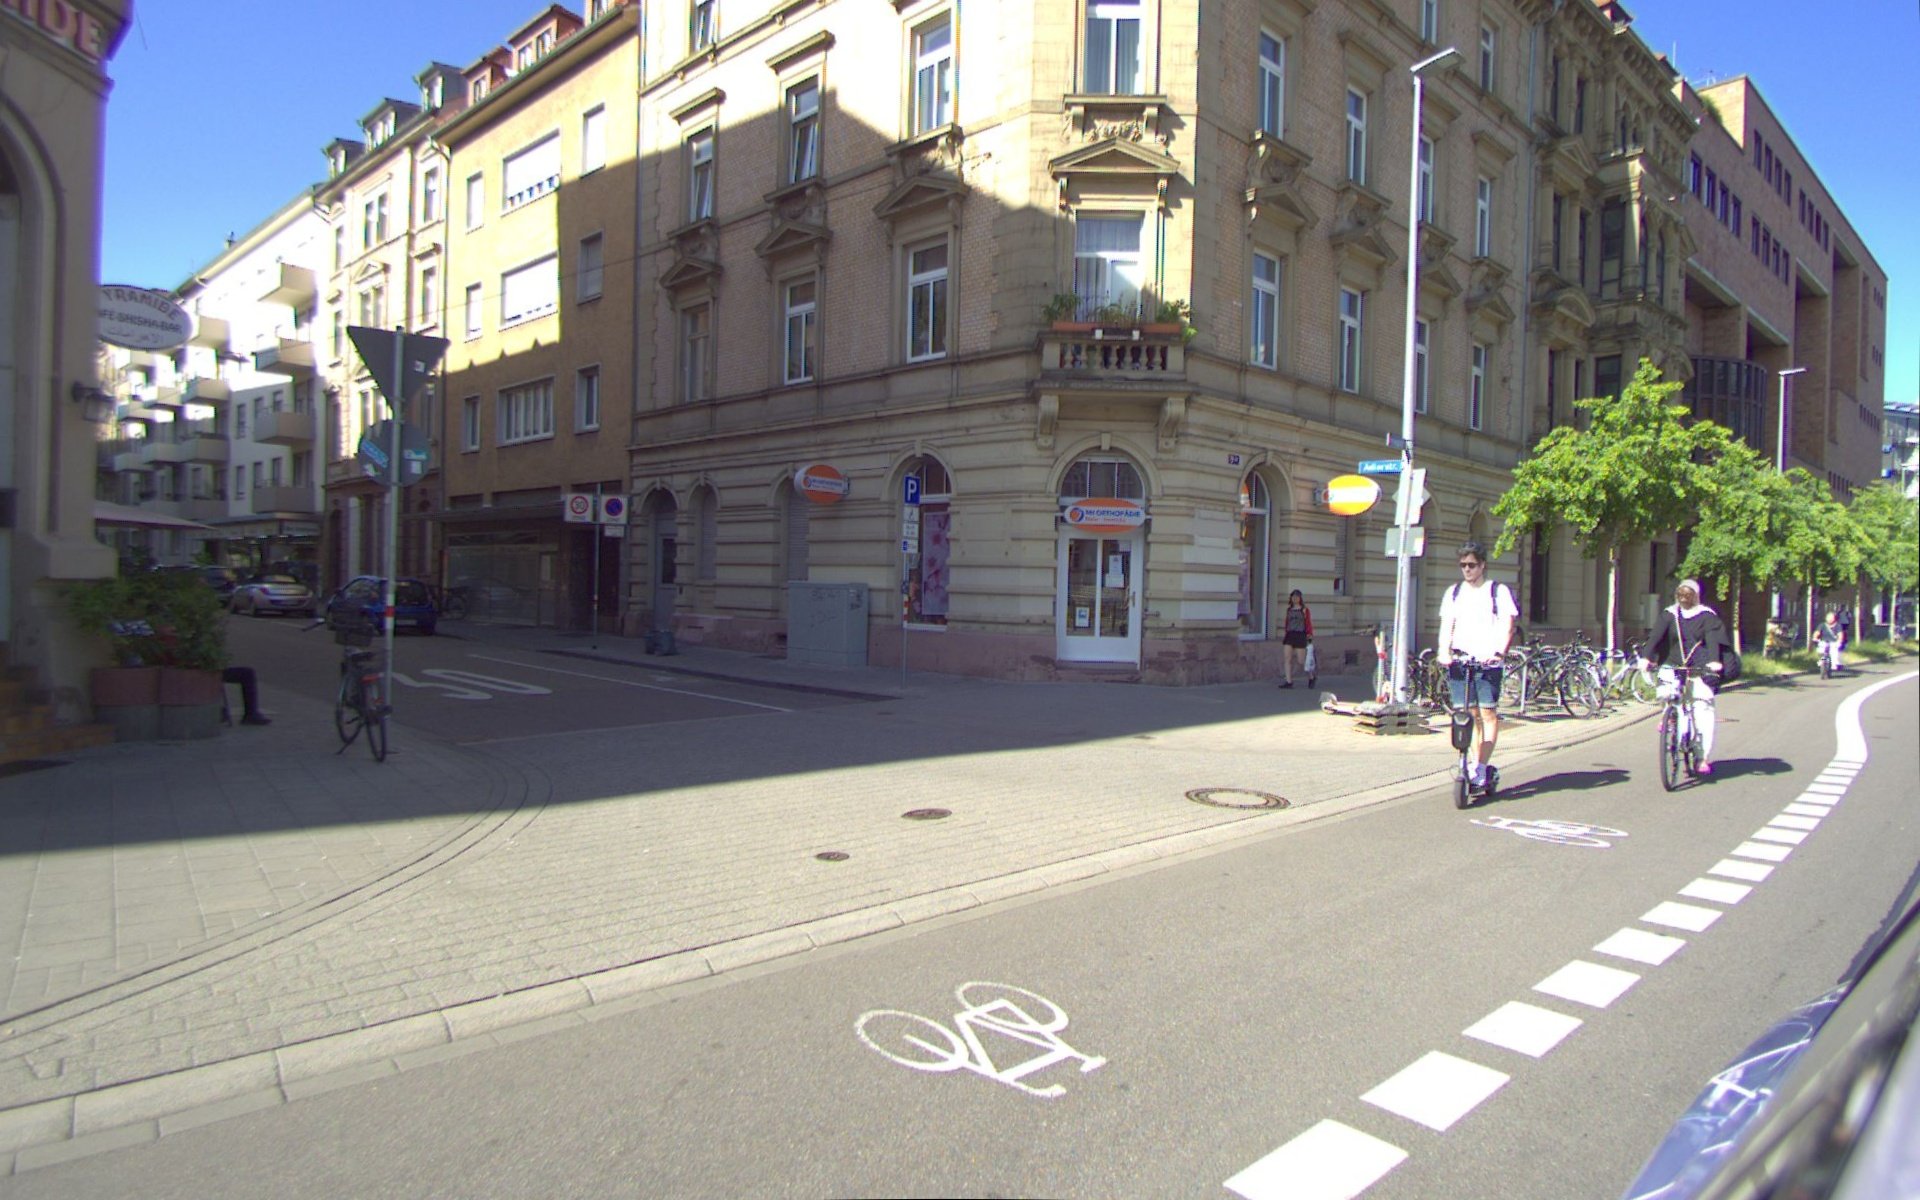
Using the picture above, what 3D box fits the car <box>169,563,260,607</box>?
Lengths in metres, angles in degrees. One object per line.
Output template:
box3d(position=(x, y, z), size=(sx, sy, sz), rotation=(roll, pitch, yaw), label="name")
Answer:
box3d(position=(-26.225, -0.535, 35.588), size=(3.757, 1.450, 1.776), rotation=(2, 1, 40), label="car")

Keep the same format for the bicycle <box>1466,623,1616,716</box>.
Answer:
box3d(position=(8.324, 0.960, 14.565), size=(0.595, 1.114, 1.729), rotation=(1, 3, -37), label="bicycle")

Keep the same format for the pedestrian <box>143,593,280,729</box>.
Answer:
box3d(position=(-7.232, 0.555, 9.788), size=(0.849, 1.229, 0.919), rotation=(0, 0, 43), label="pedestrian")

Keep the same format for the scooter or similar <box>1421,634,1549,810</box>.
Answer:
box3d(position=(4.090, 0.894, 7.859), size=(1.150, 1.242, 0.491), rotation=(1, -2, -41), label="scooter or similar")

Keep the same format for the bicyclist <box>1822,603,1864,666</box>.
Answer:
box3d(position=(22.204, 0.862, 25.441), size=(0.893, 1.557, 0.658), rotation=(1, -2, -41), label="bicyclist")

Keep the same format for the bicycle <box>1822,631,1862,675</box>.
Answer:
box3d(position=(22.164, 1.316, 25.422), size=(1.481, 1.040, 0.558), rotation=(1, -1, -41), label="bicycle")

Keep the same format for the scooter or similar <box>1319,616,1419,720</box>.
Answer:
box3d(position=(5.186, 0.835, 12.882), size=(0.411, 1.204, 1.115), rotation=(2, 1, -33), label="scooter or similar")

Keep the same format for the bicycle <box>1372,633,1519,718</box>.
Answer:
box3d(position=(6.452, 0.972, 13.522), size=(0.595, 0.955, 1.677), rotation=(2, 1, -33), label="bicycle")

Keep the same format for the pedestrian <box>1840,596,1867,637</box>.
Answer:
box3d(position=(42.651, 0.770, 48.287), size=(1.087, 1.906, 0.789), rotation=(1, 1, -41), label="pedestrian")

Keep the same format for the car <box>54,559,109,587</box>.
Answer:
box3d(position=(-47.385, -1.461, 54.560), size=(3.759, 1.450, 1.775), rotation=(2, 1, 42), label="car")

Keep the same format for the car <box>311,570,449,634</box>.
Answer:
box3d(position=(-14.773, 0.022, 25.703), size=(3.983, 1.438, 1.775), rotation=(2, -1, 40), label="car")

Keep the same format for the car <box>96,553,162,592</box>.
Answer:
box3d(position=(-37.744, -1.268, 45.937), size=(3.758, 1.686, 1.775), rotation=(2, 1, 42), label="car")

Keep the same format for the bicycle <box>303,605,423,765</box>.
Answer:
box3d(position=(-5.218, 0.687, 8.795), size=(0.641, 1.186, 1.823), rotation=(5, -2, -36), label="bicycle")

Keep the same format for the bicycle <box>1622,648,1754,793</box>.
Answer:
box3d(position=(6.468, 1.012, 8.960), size=(1.761, 1.106, 0.558), rotation=(1, -1, -42), label="bicycle")

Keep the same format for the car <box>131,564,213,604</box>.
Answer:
box3d(position=(-30.300, -0.642, 38.877), size=(3.757, 1.450, 1.776), rotation=(2, 1, 40), label="car")

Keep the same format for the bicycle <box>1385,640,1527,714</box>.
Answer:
box3d(position=(6.856, 1.036, 14.058), size=(0.595, 0.831, 1.677), rotation=(2, 2, -33), label="bicycle")

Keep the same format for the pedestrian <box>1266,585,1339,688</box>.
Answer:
box3d(position=(5.424, 0.563, 16.033), size=(0.911, 1.561, 0.710), rotation=(1, 1, -41), label="pedestrian")

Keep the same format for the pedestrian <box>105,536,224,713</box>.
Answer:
box3d(position=(-8.513, 0.248, 10.827), size=(0.906, 1.783, 0.854), rotation=(0, -1, 43), label="pedestrian")

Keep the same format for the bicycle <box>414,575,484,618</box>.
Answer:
box3d(position=(-14.979, -0.106, 29.670), size=(1.988, 1.193, 0.629), rotation=(2, 0, 19), label="bicycle")

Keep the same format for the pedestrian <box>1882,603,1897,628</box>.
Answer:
box3d(position=(58.782, 0.967, 63.997), size=(0.723, 1.505, 0.633), rotation=(1, 1, -41), label="pedestrian")

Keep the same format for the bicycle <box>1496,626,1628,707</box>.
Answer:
box3d(position=(9.332, 1.006, 15.740), size=(0.595, 1.058, 1.605), rotation=(1, 3, -37), label="bicycle")

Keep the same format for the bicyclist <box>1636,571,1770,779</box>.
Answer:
box3d(position=(6.625, 0.633, 9.031), size=(0.853, 1.733, 0.780), rotation=(1, -2, -41), label="bicyclist")

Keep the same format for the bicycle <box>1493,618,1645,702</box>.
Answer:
box3d(position=(10.090, 0.958, 16.845), size=(0.697, 1.142, 2.001), rotation=(1, 3, -39), label="bicycle")

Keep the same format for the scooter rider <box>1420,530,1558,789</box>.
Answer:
box3d(position=(4.151, 0.438, 7.939), size=(0.885, 1.884, 0.667), rotation=(1, -2, -41), label="scooter rider")

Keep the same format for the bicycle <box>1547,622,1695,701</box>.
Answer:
box3d(position=(11.359, 1.027, 17.425), size=(1.993, 1.106, 0.835), rotation=(5, 3, 40), label="bicycle")

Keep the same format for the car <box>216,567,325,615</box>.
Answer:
box3d(position=(-21.558, -0.294, 31.593), size=(3.983, 1.351, 1.775), rotation=(2, -1, 40), label="car")
